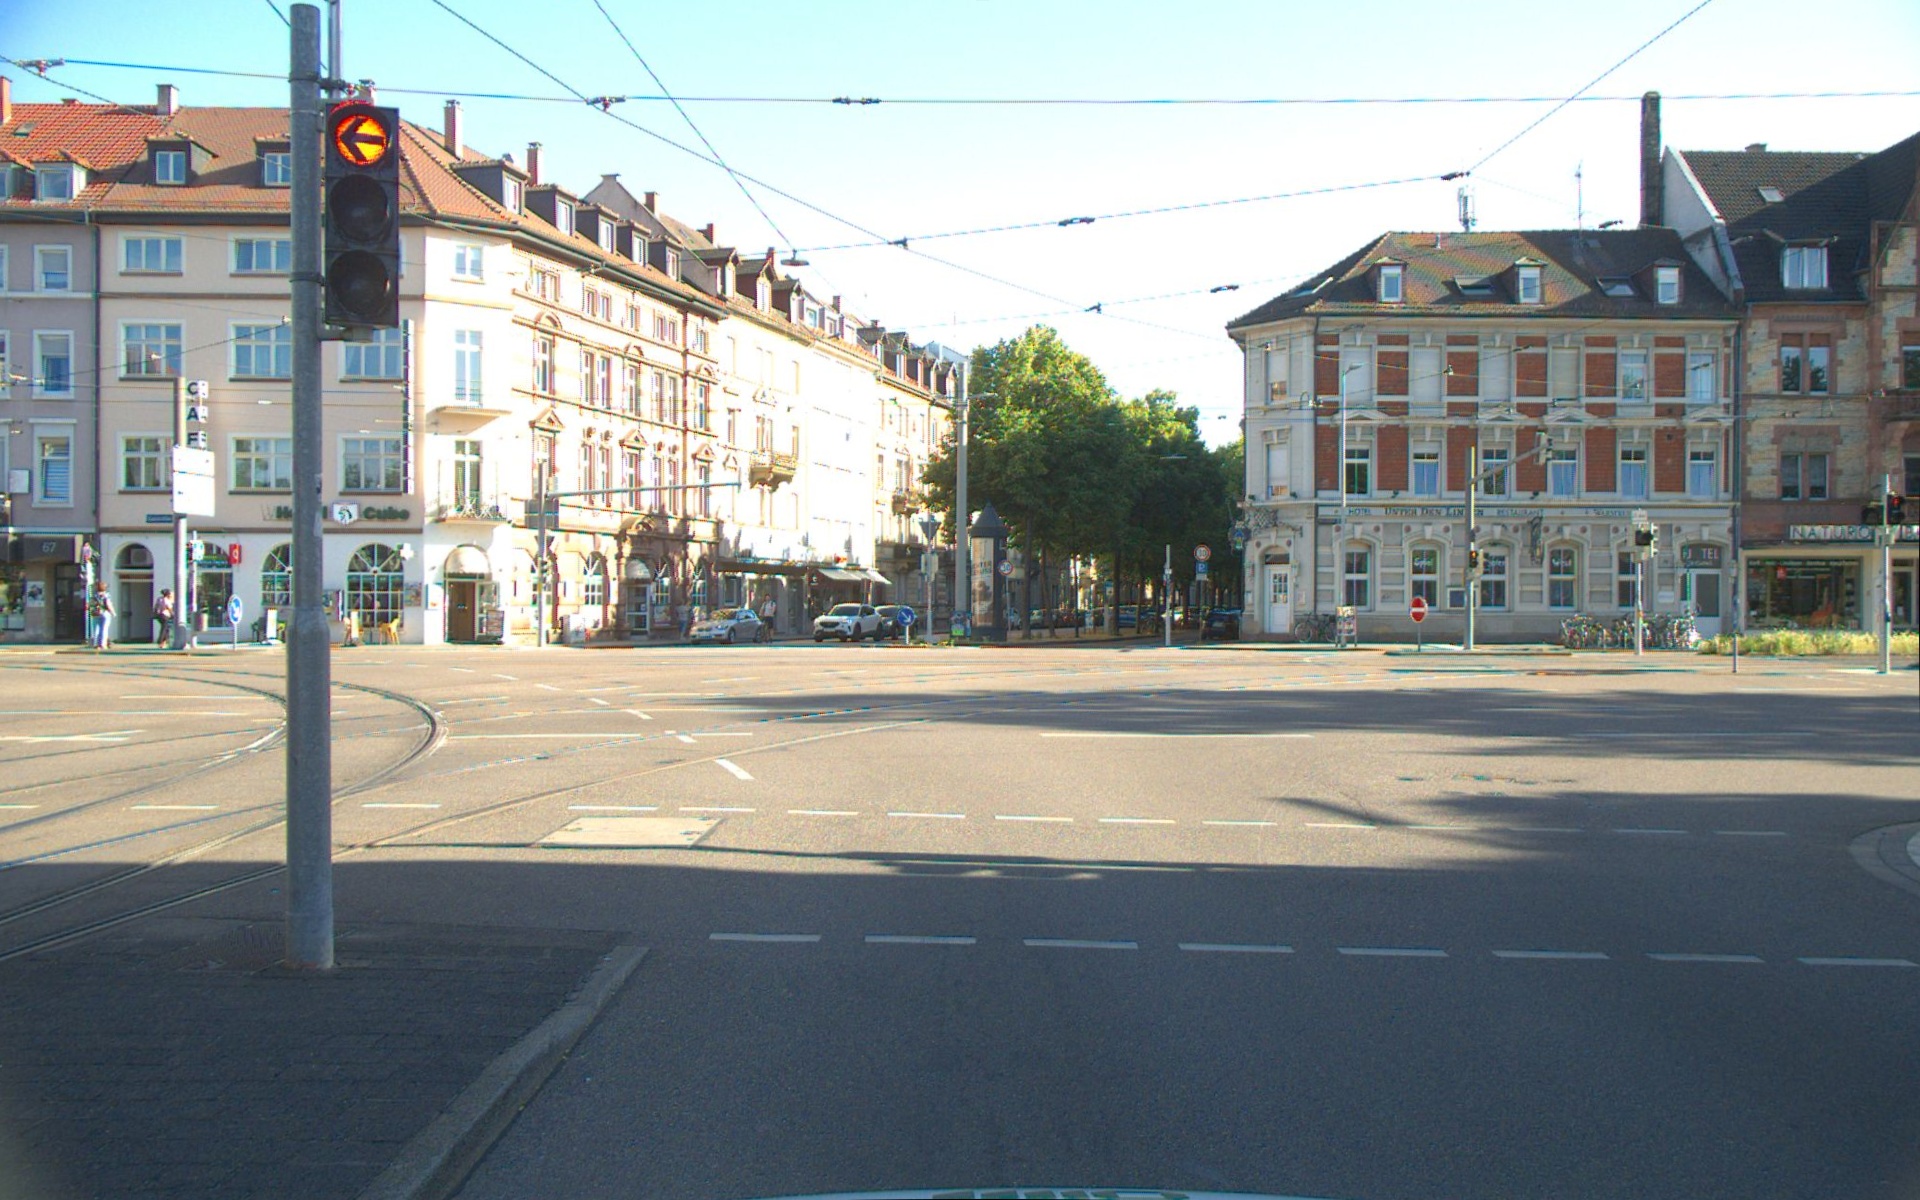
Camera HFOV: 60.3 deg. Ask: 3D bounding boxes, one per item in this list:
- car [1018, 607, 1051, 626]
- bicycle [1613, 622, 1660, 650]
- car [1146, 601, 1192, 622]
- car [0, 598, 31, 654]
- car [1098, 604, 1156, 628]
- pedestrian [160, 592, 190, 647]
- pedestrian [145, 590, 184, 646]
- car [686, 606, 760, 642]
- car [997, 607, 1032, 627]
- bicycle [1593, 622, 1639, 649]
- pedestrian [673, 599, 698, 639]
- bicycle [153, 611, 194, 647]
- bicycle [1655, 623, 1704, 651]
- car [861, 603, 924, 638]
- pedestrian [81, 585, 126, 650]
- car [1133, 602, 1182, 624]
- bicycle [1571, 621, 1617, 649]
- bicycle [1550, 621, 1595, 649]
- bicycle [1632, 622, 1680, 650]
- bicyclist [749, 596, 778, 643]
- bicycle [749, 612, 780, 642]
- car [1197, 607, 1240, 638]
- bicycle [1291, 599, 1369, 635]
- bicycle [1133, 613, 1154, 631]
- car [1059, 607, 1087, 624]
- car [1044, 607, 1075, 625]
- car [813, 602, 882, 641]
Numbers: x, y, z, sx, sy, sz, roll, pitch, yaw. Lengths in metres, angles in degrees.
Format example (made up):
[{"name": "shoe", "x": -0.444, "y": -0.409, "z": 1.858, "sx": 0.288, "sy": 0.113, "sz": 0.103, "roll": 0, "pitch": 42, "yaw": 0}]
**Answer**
[{"name": "car", "x": 5.524, "y": 1.224, "z": 122.511, "sx": 1.642, "sy": 1.378, "sz": 3.593, "roll": 0, "pitch": 0, "yaw": 16}, {"name": "bicycle", "x": 21.859, "y": 1.152, "z": 53.512, "sx": 0.645, "sy": 0.855, "sz": 2.160, "roll": 1, "pitch": 0, "yaw": 0}, {"name": "car", "x": 16.931, "y": 0.895, "z": 133.756, "sx": 3.503, "sy": 1.677, "sz": 1.684, "roll": 0, "pitch": 0, "yaw": 16}, {"name": "car", "x": -32.156, "y": 0.781, "z": 52.263, "sx": 4.276, "sy": 1.741, "sz": 2.306, "roll": 1, "pitch": 0, "yaw": 1}, {"name": "car", "x": 11.705, "y": 1.123, "z": 115.843, "sx": 3.819, "sy": 1.677, "sz": 1.684, "roll": 0, "pitch": 0, "yaw": 16}, {"name": "pedestrian", "x": -24.688, "y": 0.610, "z": 52.013, "sx": 0.570, "sy": 1.699, "sz": 0.752, "roll": 1, "pitch": -1, "yaw": -1}, {"name": "pedestrian", "x": -23.290, "y": 0.523, "z": 48.423, "sx": 0.715, "sy": 1.605, "sz": 0.828, "roll": 0, "pitch": -1, "yaw": 43}, {"name": "car", "x": -9.545, "y": 0.932, "z": 66.753, "sx": 1.642, "sy": 1.378, "sz": 3.593, "roll": 0, "pitch": 0, "yaw": 16}, {"name": "car", "x": 3.813, "y": 1.163, "z": 115.523, "sx": 1.642, "sy": 1.378, "sz": 3.593, "roll": 0, "pitch": 0, "yaw": 16}, {"name": "bicycle", "x": 21.188, "y": 1.140, "z": 53.478, "sx": 0.645, "sy": 0.855, "sz": 2.160, "roll": 1, "pitch": 0, "yaw": 0}, {"name": "pedestrian", "x": -11.725, "y": 0.815, "z": 70.595, "sx": 0.759, "sy": 1.699, "sz": 0.831, "roll": 1, "pitch": -1, "yaw": 15}, {"name": "bicycle", "x": -24.693, "y": 0.911, "z": 51.954, "sx": 0.561, "sy": 1.096, "sz": 1.497, "roll": 1, "pitch": 0, "yaw": -1}, {"name": "bicycle", "x": 23.275, "y": 1.176, "z": 53.538, "sx": 0.645, "sy": 0.855, "sz": 2.160, "roll": 1, "pitch": 0, "yaw": 0}, {"name": "car", "x": -2.954, "y": 0.888, "z": 73.560, "sx": 1.642, "sy": 1.509, "sz": 3.950, "roll": 0, "pitch": 0, "yaw": 16}, {"name": "pedestrian", "x": -21.394, "y": 0.435, "z": 41.320, "sx": 0.539, "sy": 1.605, "sz": 0.832, "roll": 1, "pitch": -1, "yaw": 27}, {"name": "car", "x": 15.310, "y": 0.968, "z": 128.256, "sx": 3.503, "sy": 1.677, "sz": 1.684, "roll": 0, "pitch": 0, "yaw": 16}, {"name": "bicycle", "x": 20.476, "y": 1.127, "z": 53.465, "sx": 0.645, "sy": 0.855, "sz": 2.160, "roll": 1, "pitch": 0, "yaw": 0}, {"name": "bicycle", "x": 19.757, "y": 1.114, "z": 53.378, "sx": 0.645, "sy": 0.855, "sz": 2.160, "roll": 1, "pitch": 0, "yaw": 0}, {"name": "bicycle", "x": 22.487, "y": 1.162, "z": 53.492, "sx": 0.645, "sy": 0.855, "sz": 2.160, "roll": 1, "pitch": 0, "yaw": 0}, {"name": "bicyclist", "x": -7.719, "y": 0.765, "z": 65.012, "sx": 0.761, "sy": 1.834, "sz": 1.056, "roll": 1, "pitch": -1, "yaw": 13}, {"name": "bicycle", "x": -7.686, "y": 1.045, "z": 65.135, "sx": 0.687, "sy": 1.137, "sz": 1.636, "roll": 1, "pitch": 0, "yaw": 13}, {"name": "car", "x": 12.952, "y": 1.112, "z": 82.758, "sx": 1.642, "sy": 1.509, "sz": 3.950, "roll": 0, "pitch": 0, "yaw": 16}, {"name": "bicycle", "x": 12.862, "y": 0.594, "z": 57.467, "sx": 2.504, "sy": 1.194, "sz": 0.818, "roll": 1, "pitch": -1, "yaw": -4}, {"name": "bicycle", "x": 11.044, "y": 1.302, "z": 99.636, "sx": 0.625, "sy": 1.039, "sz": 1.840, "roll": 1, "pitch": 0, "yaw": -14}, {"name": "car", "x": 9.307, "y": 1.258, "z": 135.905, "sx": 1.642, "sy": 1.378, "sz": 3.593, "roll": 0, "pitch": 0, "yaw": 16}, {"name": "car", "x": 7.882, "y": 1.221, "z": 130.853, "sx": 1.642, "sy": 1.378, "sz": 3.593, "roll": 0, "pitch": 0, "yaw": 16}, {"name": "car", "x": -4.540, "y": 0.843, "z": 67.235, "sx": 1.642, "sy": 1.509, "sz": 3.774, "roll": 0, "pitch": 0, "yaw": 16}]
